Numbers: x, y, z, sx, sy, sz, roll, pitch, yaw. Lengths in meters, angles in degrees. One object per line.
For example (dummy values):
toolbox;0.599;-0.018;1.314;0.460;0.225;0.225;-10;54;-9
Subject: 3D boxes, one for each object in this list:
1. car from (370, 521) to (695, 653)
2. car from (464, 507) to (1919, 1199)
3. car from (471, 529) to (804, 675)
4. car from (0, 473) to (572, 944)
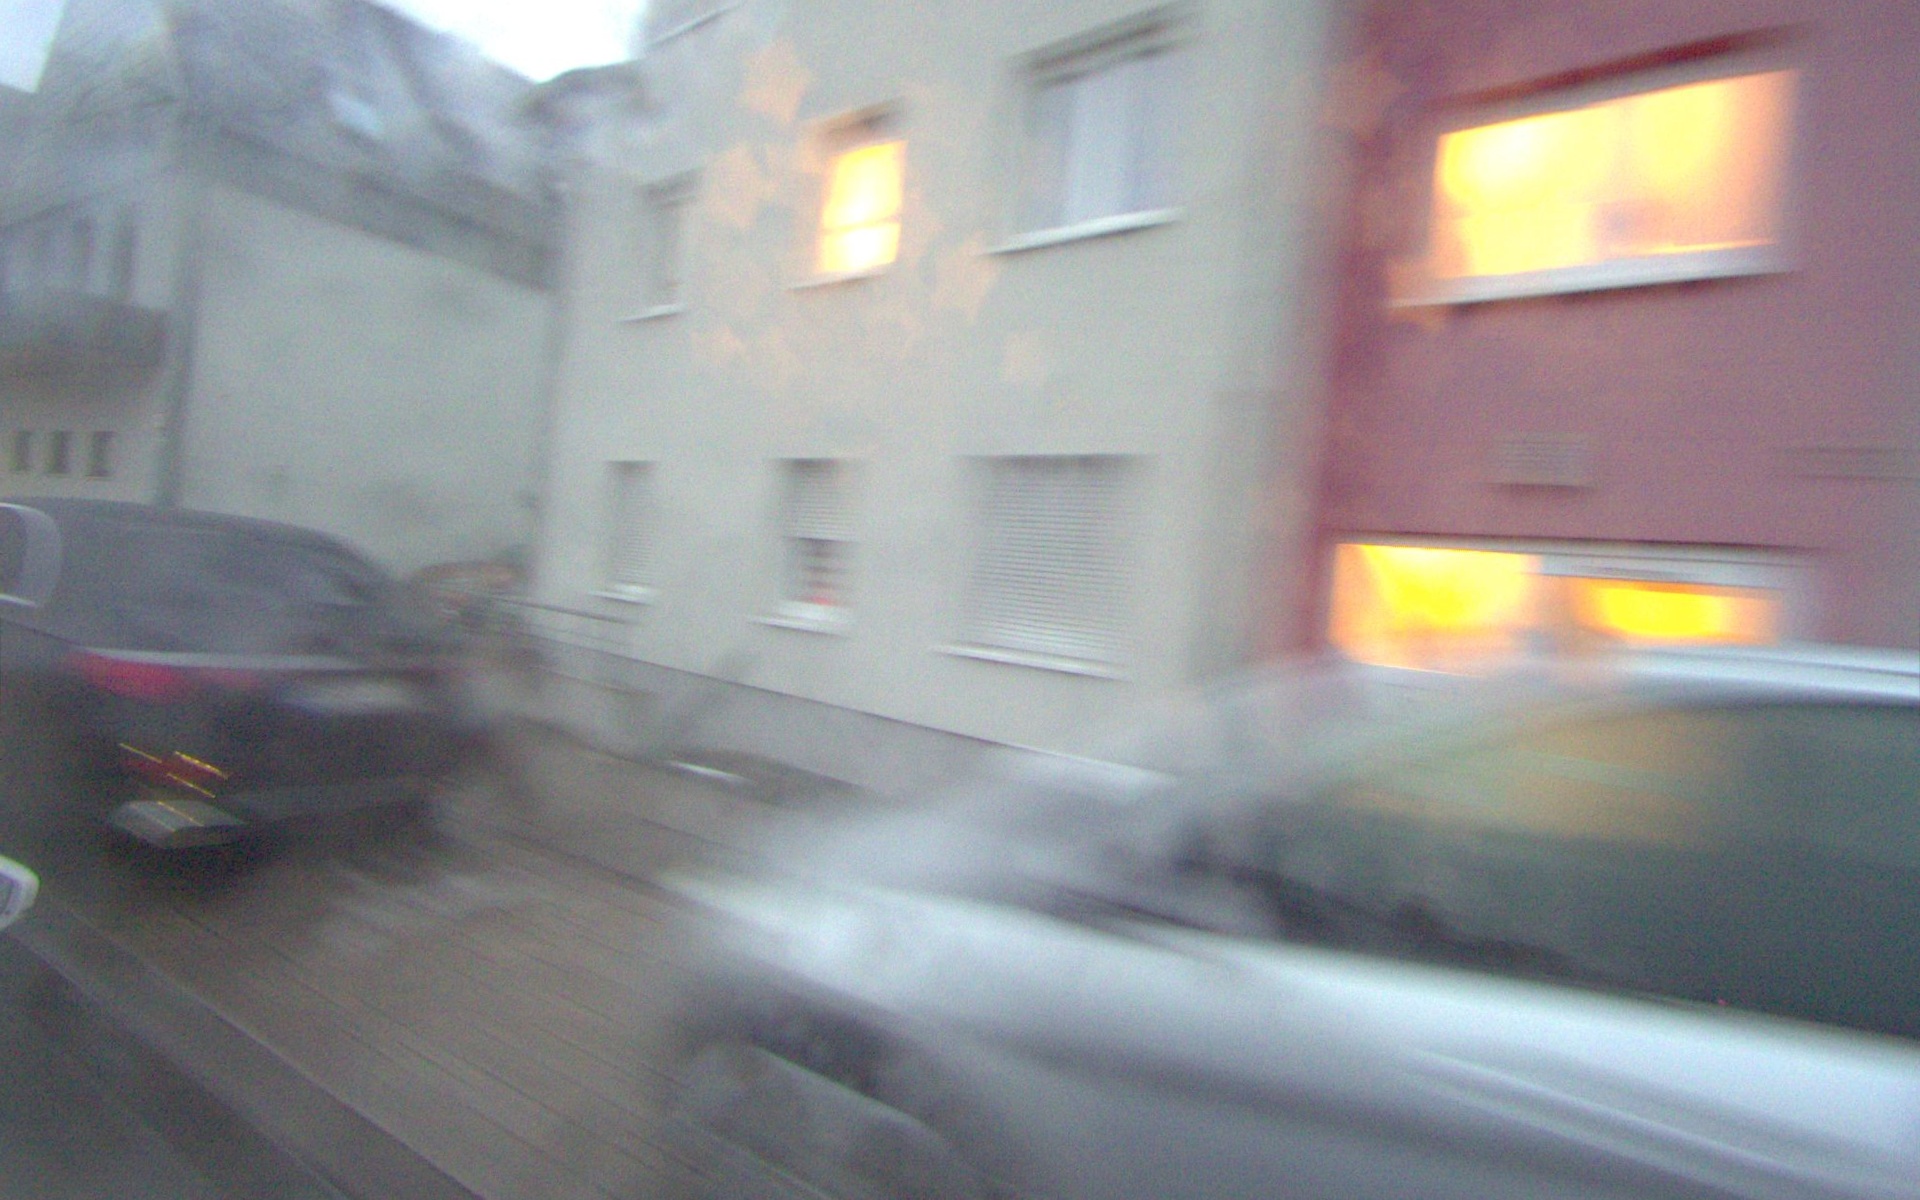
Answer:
car;-6.406;-0.132;15.457;1.836;1.575;4.142;7;0;39
car;1.158;0.836;2.061;4.421;1.595;1.666;7;1;31
car;-4.314;0.097;13.978;1.777;1.622;4.003;7;2;38
car;-4.639;0.227;5.468;4.925;1.550;1.961;7;-2;31
